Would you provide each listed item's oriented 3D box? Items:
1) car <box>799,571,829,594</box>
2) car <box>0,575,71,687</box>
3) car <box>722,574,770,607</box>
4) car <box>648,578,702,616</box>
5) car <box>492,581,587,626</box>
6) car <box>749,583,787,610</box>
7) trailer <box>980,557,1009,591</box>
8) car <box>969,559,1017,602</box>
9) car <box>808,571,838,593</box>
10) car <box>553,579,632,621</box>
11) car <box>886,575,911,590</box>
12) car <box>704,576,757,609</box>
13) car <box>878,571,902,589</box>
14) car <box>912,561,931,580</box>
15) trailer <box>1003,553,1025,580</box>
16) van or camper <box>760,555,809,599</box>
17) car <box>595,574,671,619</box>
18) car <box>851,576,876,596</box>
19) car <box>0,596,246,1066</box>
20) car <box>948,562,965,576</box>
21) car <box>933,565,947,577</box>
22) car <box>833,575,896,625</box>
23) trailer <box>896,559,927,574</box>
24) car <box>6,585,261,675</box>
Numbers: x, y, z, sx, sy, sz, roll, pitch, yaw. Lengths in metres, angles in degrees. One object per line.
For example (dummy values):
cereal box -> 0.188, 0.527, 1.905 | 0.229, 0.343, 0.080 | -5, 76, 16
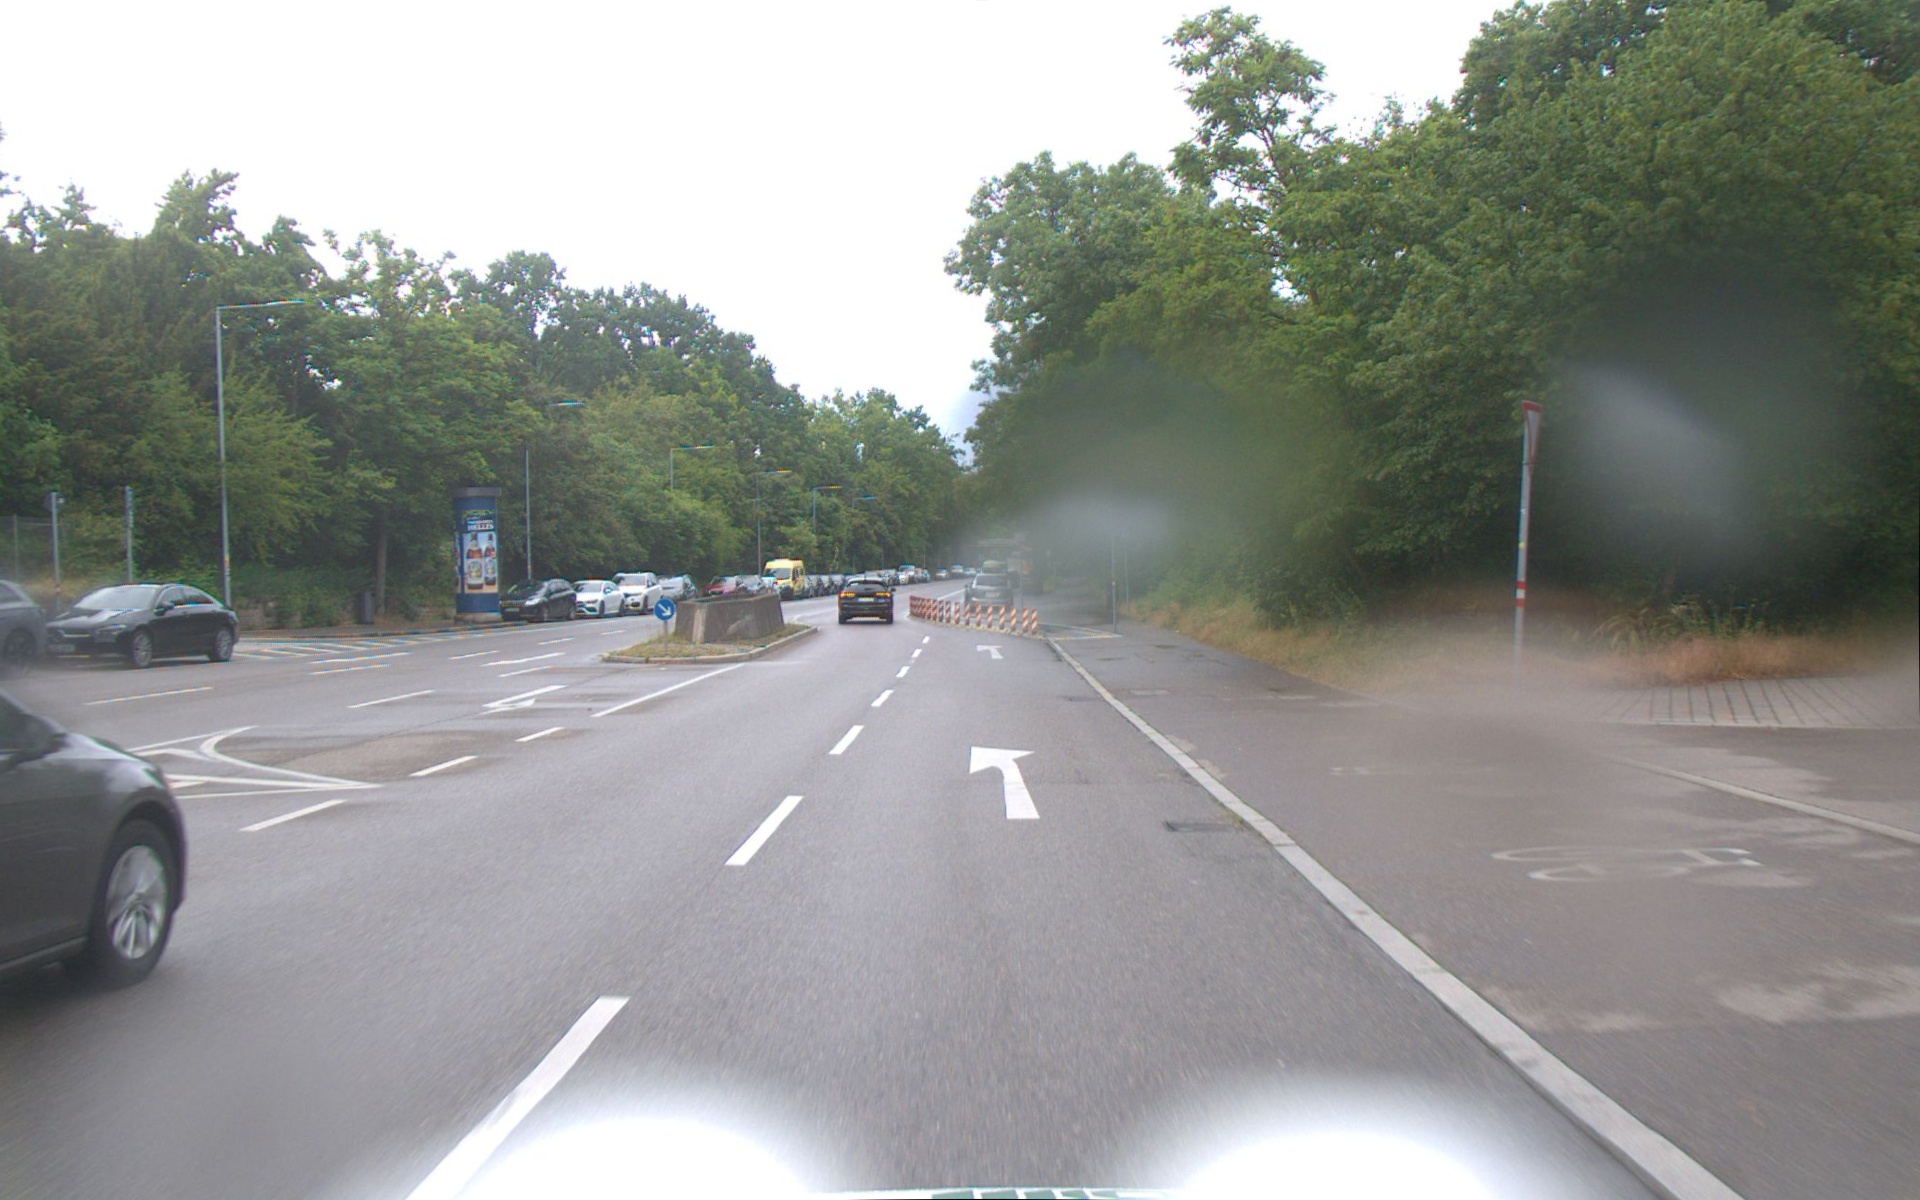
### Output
car -> -10.323, -1.217, 116.840 | 1.569, 1.536, 3.141 | -1, 1, 5
car -> -14.711, 0.442, 23.027 | 1.802, 1.617, 4.930 | 0, 0, 3
car -> -12.179, -0.565, 94.356 | 1.952, 1.729, 4.617 | -1, 1, 2
car -> -13.259, -0.178, 77.238 | 1.695, 1.677, 4.572 | 0, 1, 1
car -> -14.620, 0.095, 57.791 | 1.712, 1.470, 4.590 | 0, 1, 6
car -> -11.560, -0.209, 99.675 | 1.583, 1.474, 3.659 | -2, 1, 4
trailer -> 2.417, -1.834, 114.921 | 1.866, 2.286, 4.770 | -1, 1, 3
car -> 1.296, -0.791, 66.099 | 1.785, 1.643, 4.251 | 0, 1, -1
car -> -10.091, -1.351, 122.187 | 1.569, 1.536, 3.979 | -1, 1, 5
car -> -14.133, -0.043, 63.810 | 1.682, 1.485, 4.711 | -1, 1, 4
car -> -6.262, -1.808, 168.772 | 1.951, 1.514, 4.471 | -1, 1, 4
car -> -12.339, -0.424, 89.053 | 1.878, 1.645, 4.492 | -2, 1, 4
car -> -6.815, -1.960, 160.854 | 1.840, 1.588, 4.471 | -1, 1, 4
car -> -4.407, -3.412, 190.869 | 1.900, 2.048, 4.741 | -1, 1, 1
trailer -> 5.288, -3.295, 161.409 | 2.088, 2.604, 4.299 | -1, 1, 2
van or camper -> -11.218, -1.505, 106.193 | 2.098, 2.673, 5.686 | -1, 1, 5
car -> -13.701, -0.194, 69.606 | 1.952, 1.796, 4.963 | -1, 1, 3
car -> -8.170, -1.227, 139.876 | 1.661, 1.611, 4.141 | -1, 1, 3
car -> -3.912, 0.715, 4.780 | 1.833, 1.466, 4.296 | 1, 0, 0
car -> -0.470, -4.672, 250.381 | 2.113, 2.048, 5.034 | -1, 1, 5
car -> -2.675, -3.938, 225.242 | 1.637, 1.540, 3.632 | 0, 2, 3
car -> -3.106, -0.027, 53.003 | 1.844, 1.491, 3.996 | 1, 1, -6
trailer -> -5.431, -3.754, 185.195 | 1.597, 1.657, 3.661 | 0, 2, 35
car -> -14.285, 0.478, 28.944 | 1.866, 1.439, 4.785 | 0, 0, 3
